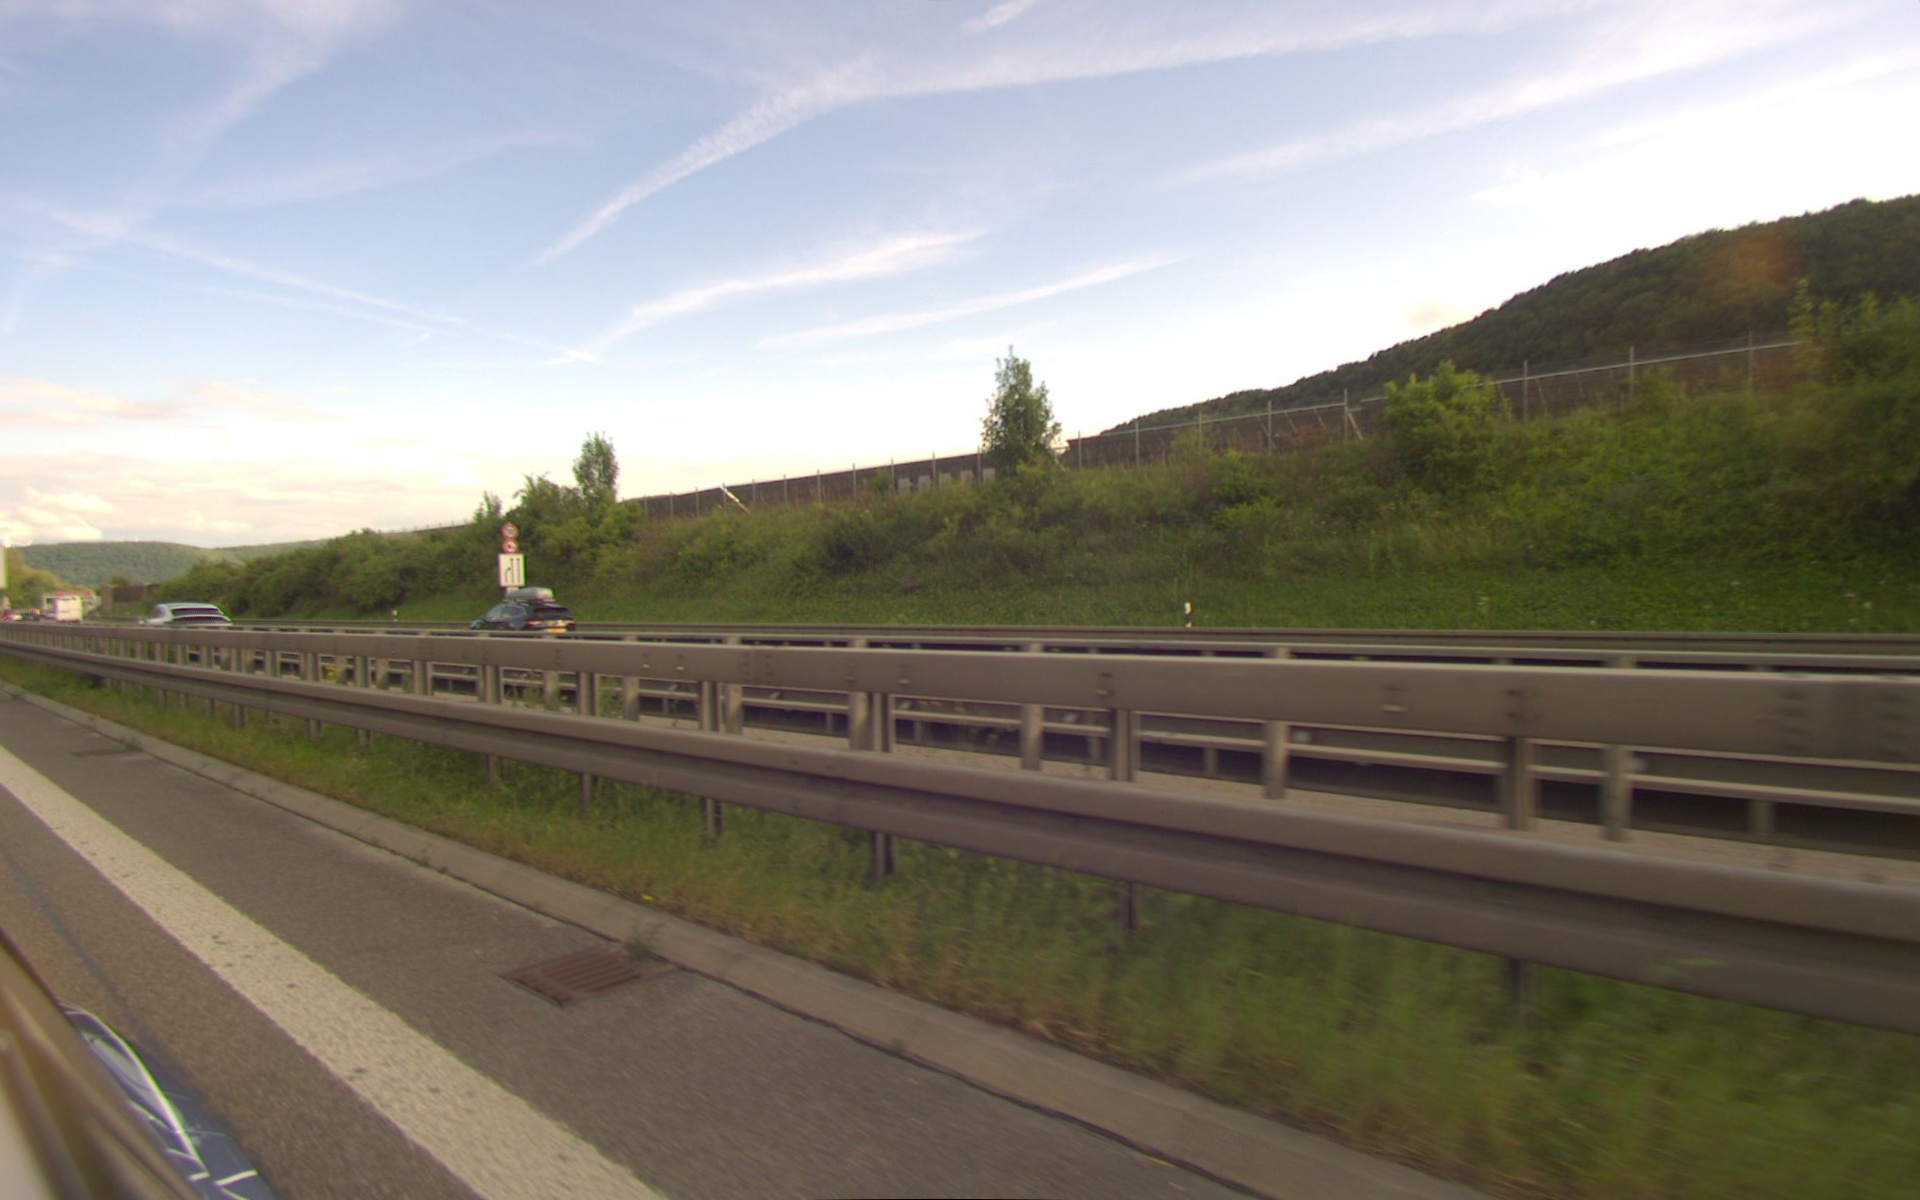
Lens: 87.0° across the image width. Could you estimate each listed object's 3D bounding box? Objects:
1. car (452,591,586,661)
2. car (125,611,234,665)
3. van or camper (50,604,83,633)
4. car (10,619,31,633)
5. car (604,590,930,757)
[{"bbox_3d":[-14.143,0.798,32.322,5.016,2.055,1.942,-1,0,41],"label":"car"},{"bbox_3d":[-25.352,1.178,32.813,5.016,1.603,1.814,-1,0,41],"label":"car"},{"bbox_3d":[-113.673,2.330,128.681,7.978,3.578,2.454,-1,0,43],"label":"van or camper"},{"bbox_3d":[-118.280,3.268,127.419,4.345,1.669,1.625,-1,0,43],"label":"car"},{"bbox_3d":[-2.470,0.760,12.199,4.345,1.669,1.625,-1,-1,43],"label":"car"}]
